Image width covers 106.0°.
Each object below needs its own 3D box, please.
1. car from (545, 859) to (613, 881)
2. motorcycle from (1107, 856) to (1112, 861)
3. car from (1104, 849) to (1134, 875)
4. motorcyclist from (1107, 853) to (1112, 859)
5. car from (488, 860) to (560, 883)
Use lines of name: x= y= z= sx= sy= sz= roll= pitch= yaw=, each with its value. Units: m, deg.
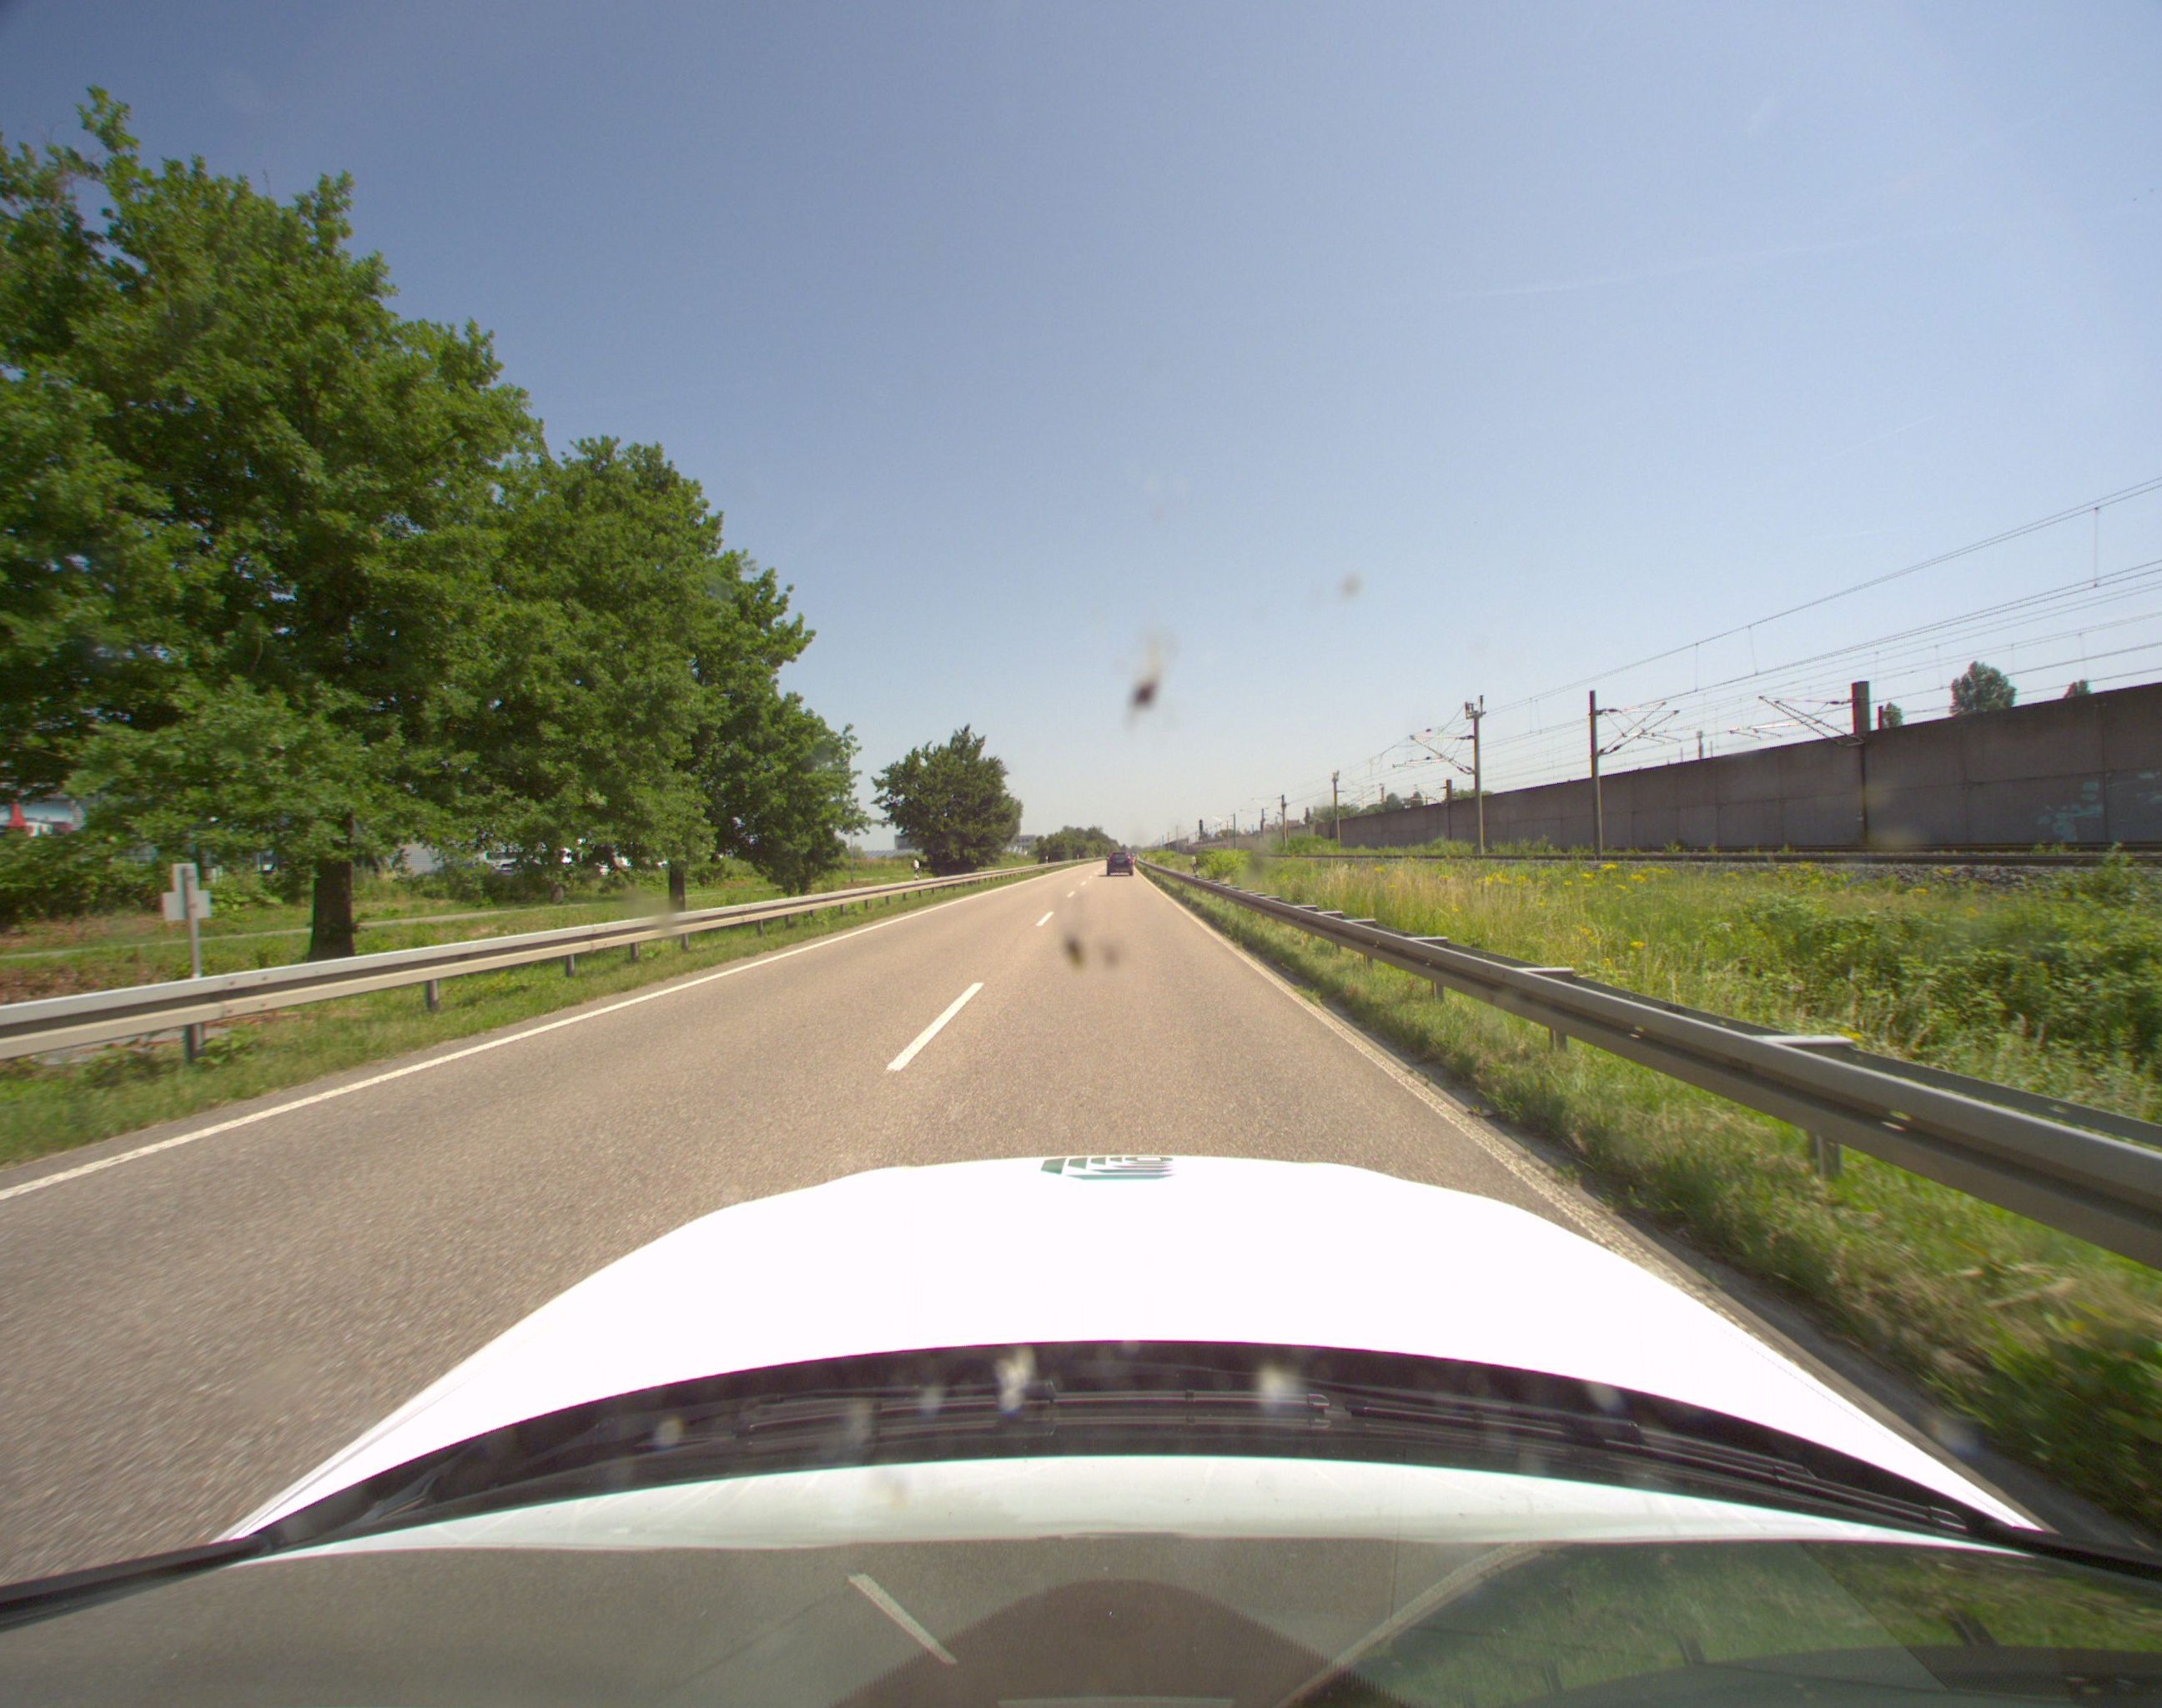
car: x=-39.938 y=1.265 z=64.868 sx=4.218 sy=1.437 sz=1.622 roll=-3 pitch=0 yaw=-4
motorcycle: x=5.524 y=0.821 z=160.240 sx=0.924 sy=1.028 sz=2.270 roll=0 pitch=0 yaw=3
car: x=2.680 y=0.562 z=58.090 sx=1.986 sy=1.700 sz=4.001 roll=-1 pitch=0 yaw=1
motorcyclist: x=5.538 y=0.373 z=160.272 sx=0.989 sy=1.310 sz=0.936 roll=0 pitch=0 yaw=3
car: x=-40.102 y=1.219 z=58.823 sx=1.740 sy=1.437 sz=4.669 roll=-3 pitch=0 yaw=3
